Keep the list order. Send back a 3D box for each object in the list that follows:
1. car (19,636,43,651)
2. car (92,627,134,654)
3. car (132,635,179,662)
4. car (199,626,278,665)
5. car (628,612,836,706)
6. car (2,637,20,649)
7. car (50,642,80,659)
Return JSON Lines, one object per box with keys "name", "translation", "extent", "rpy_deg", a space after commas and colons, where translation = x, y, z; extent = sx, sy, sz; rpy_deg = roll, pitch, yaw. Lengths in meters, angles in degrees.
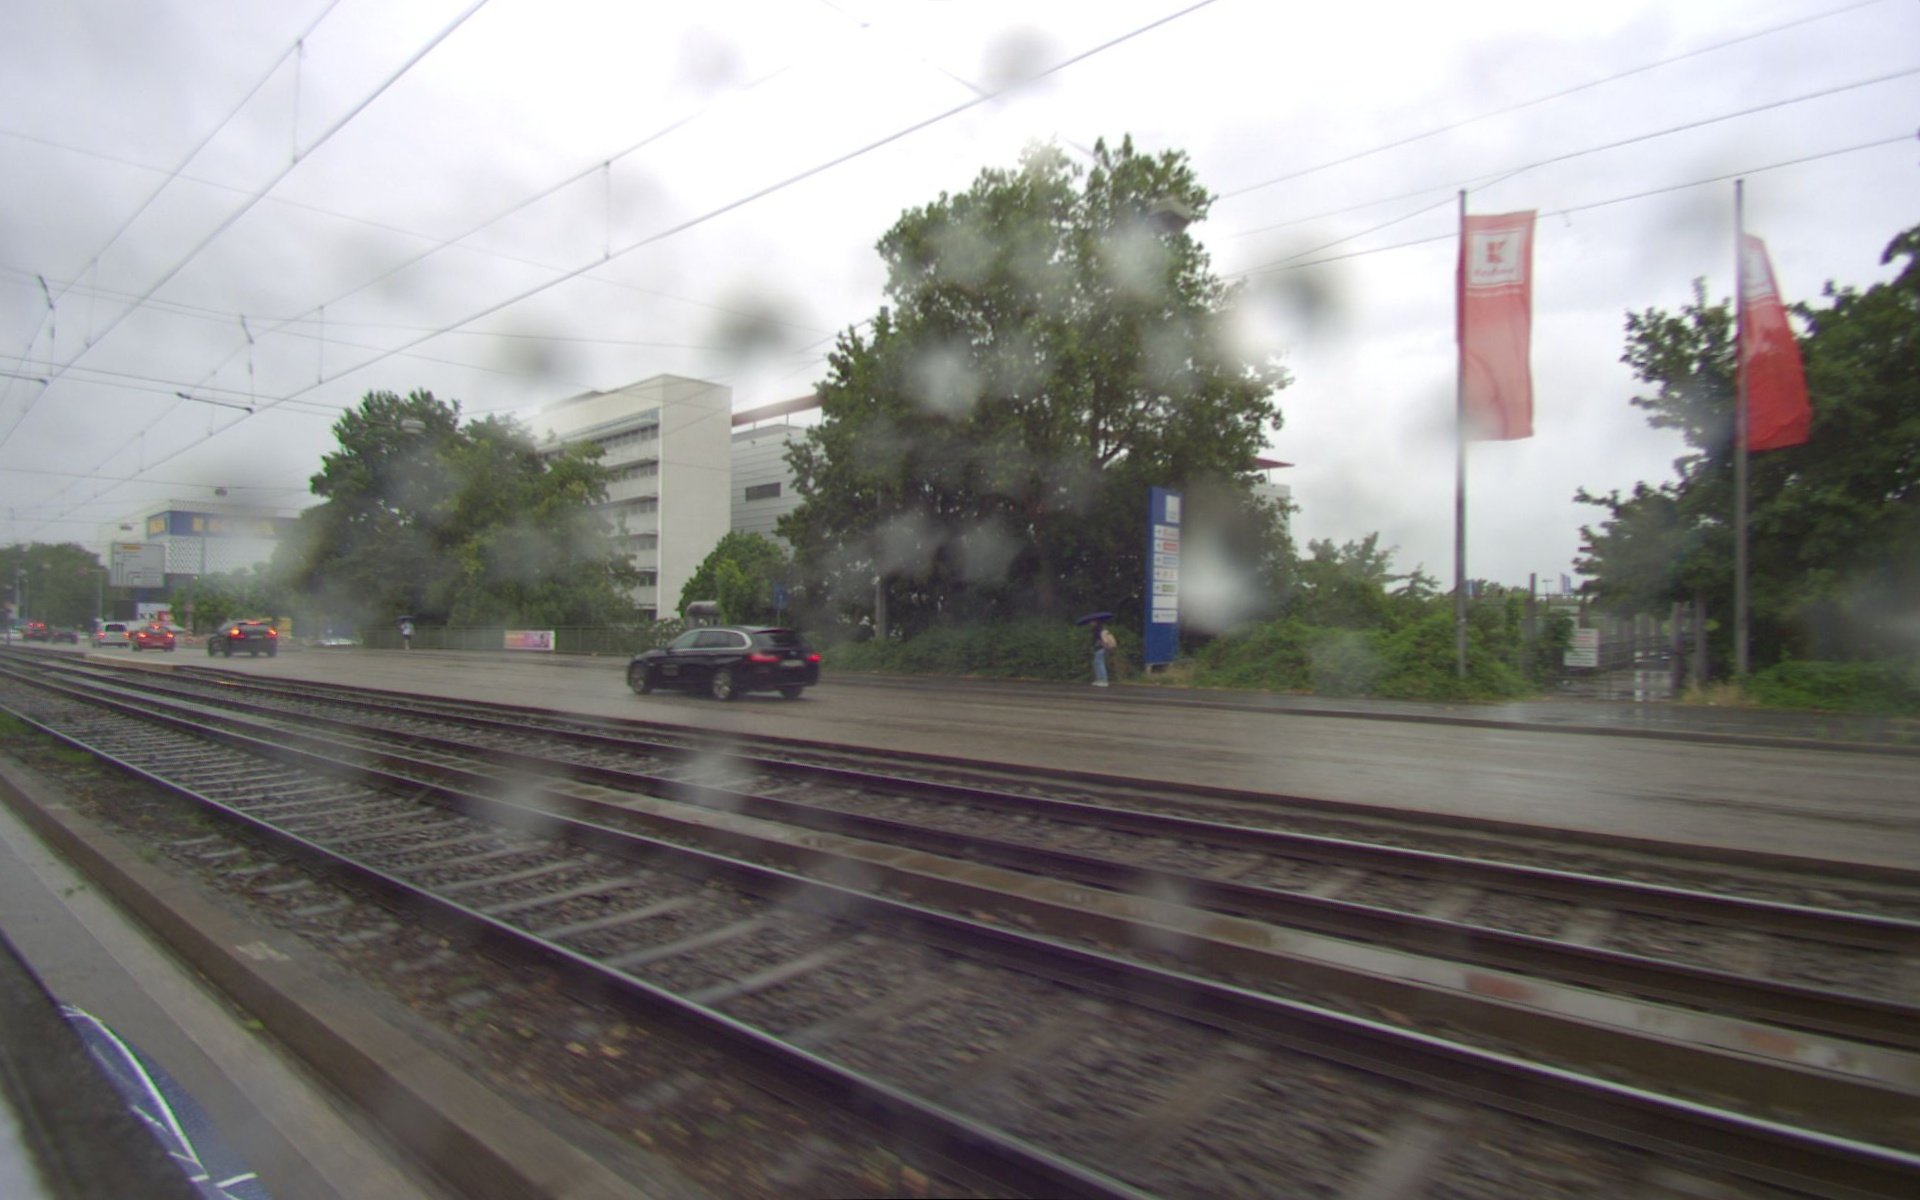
{"name": "car", "translation": [-100.040, 4.722, 108.951], "extent": [4.001, 1.557, 1.625], "rpy_deg": [-3, -3, 44]}
{"name": "car", "translation": [-61.859, 2.945, 73.886], "extent": [3.999, 1.924, 1.821], "rpy_deg": [-3, -3, 42]}
{"name": "car", "translation": [-46.793, 2.812, 58.827], "extent": [1.684, 1.465, 4.002], "rpy_deg": [2, -3, -45]}
{"name": "car", "translation": [-32.872, 2.067, 46.082], "extent": [4.870, 1.665, 1.916], "rpy_deg": [-3, -3, 42]}
{"name": "car", "translation": [-4.660, 1.146, 20.348], "extent": [4.396, 1.655, 1.868], "rpy_deg": [-3, -1, 42]}
{"name": "car", "translation": [-124.026, 5.653, 132.258], "extent": [4.002, 1.557, 1.548], "rpy_deg": [-3, -2, 45]}
{"name": "car", "translation": [-84.844, 4.814, 95.946], "extent": [3.999, 1.557, 1.685], "rpy_deg": [-3, -3, 42]}
